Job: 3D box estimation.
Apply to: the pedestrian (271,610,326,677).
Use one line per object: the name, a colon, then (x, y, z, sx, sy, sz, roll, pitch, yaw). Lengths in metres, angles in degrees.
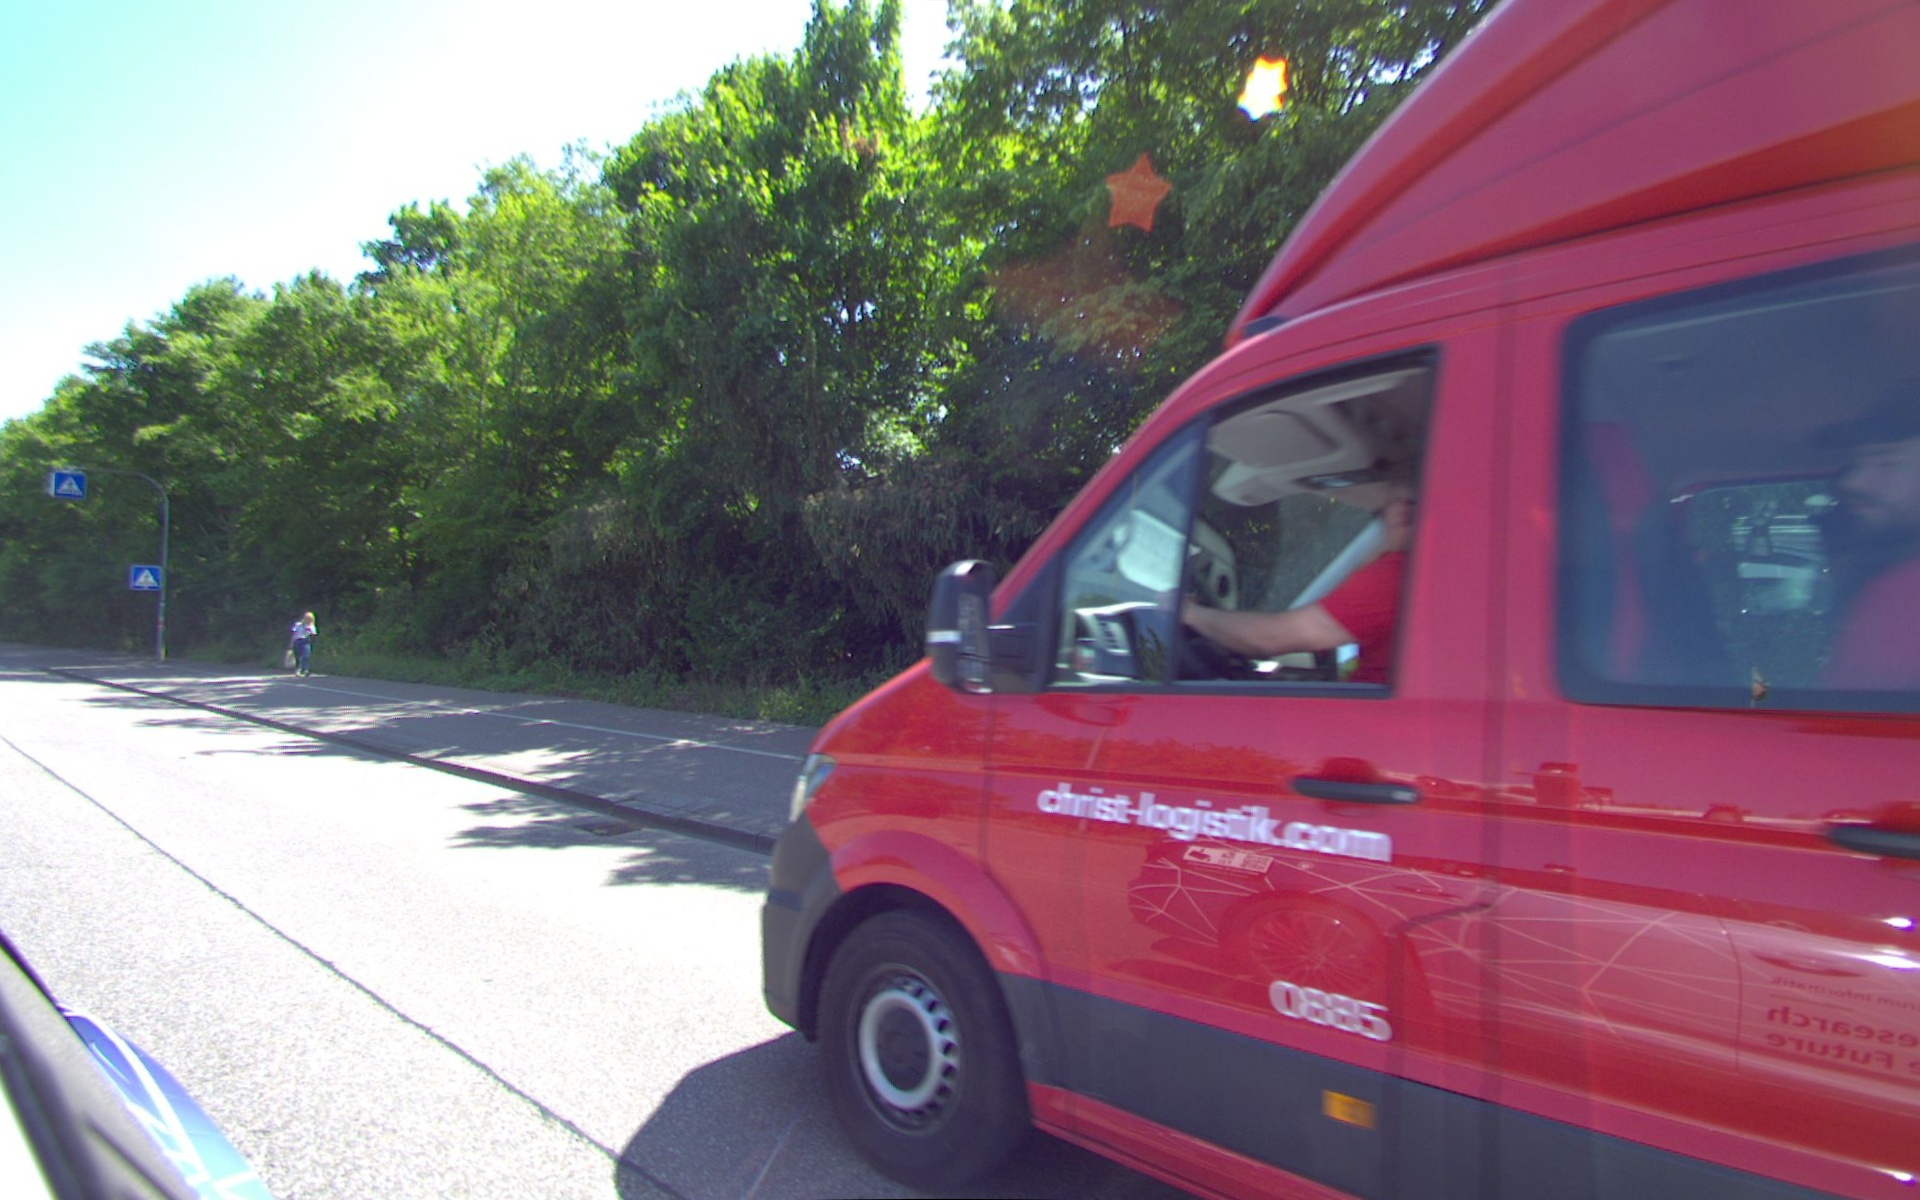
pedestrian: (-16.644, 1.075, 25.453, 0.885, 1.625, 0.923, -1, -2, 40)

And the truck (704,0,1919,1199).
truck: (2.703, -0.196, 1.653, 7.158, 3.466, 2.297, -1, -6, 42)
